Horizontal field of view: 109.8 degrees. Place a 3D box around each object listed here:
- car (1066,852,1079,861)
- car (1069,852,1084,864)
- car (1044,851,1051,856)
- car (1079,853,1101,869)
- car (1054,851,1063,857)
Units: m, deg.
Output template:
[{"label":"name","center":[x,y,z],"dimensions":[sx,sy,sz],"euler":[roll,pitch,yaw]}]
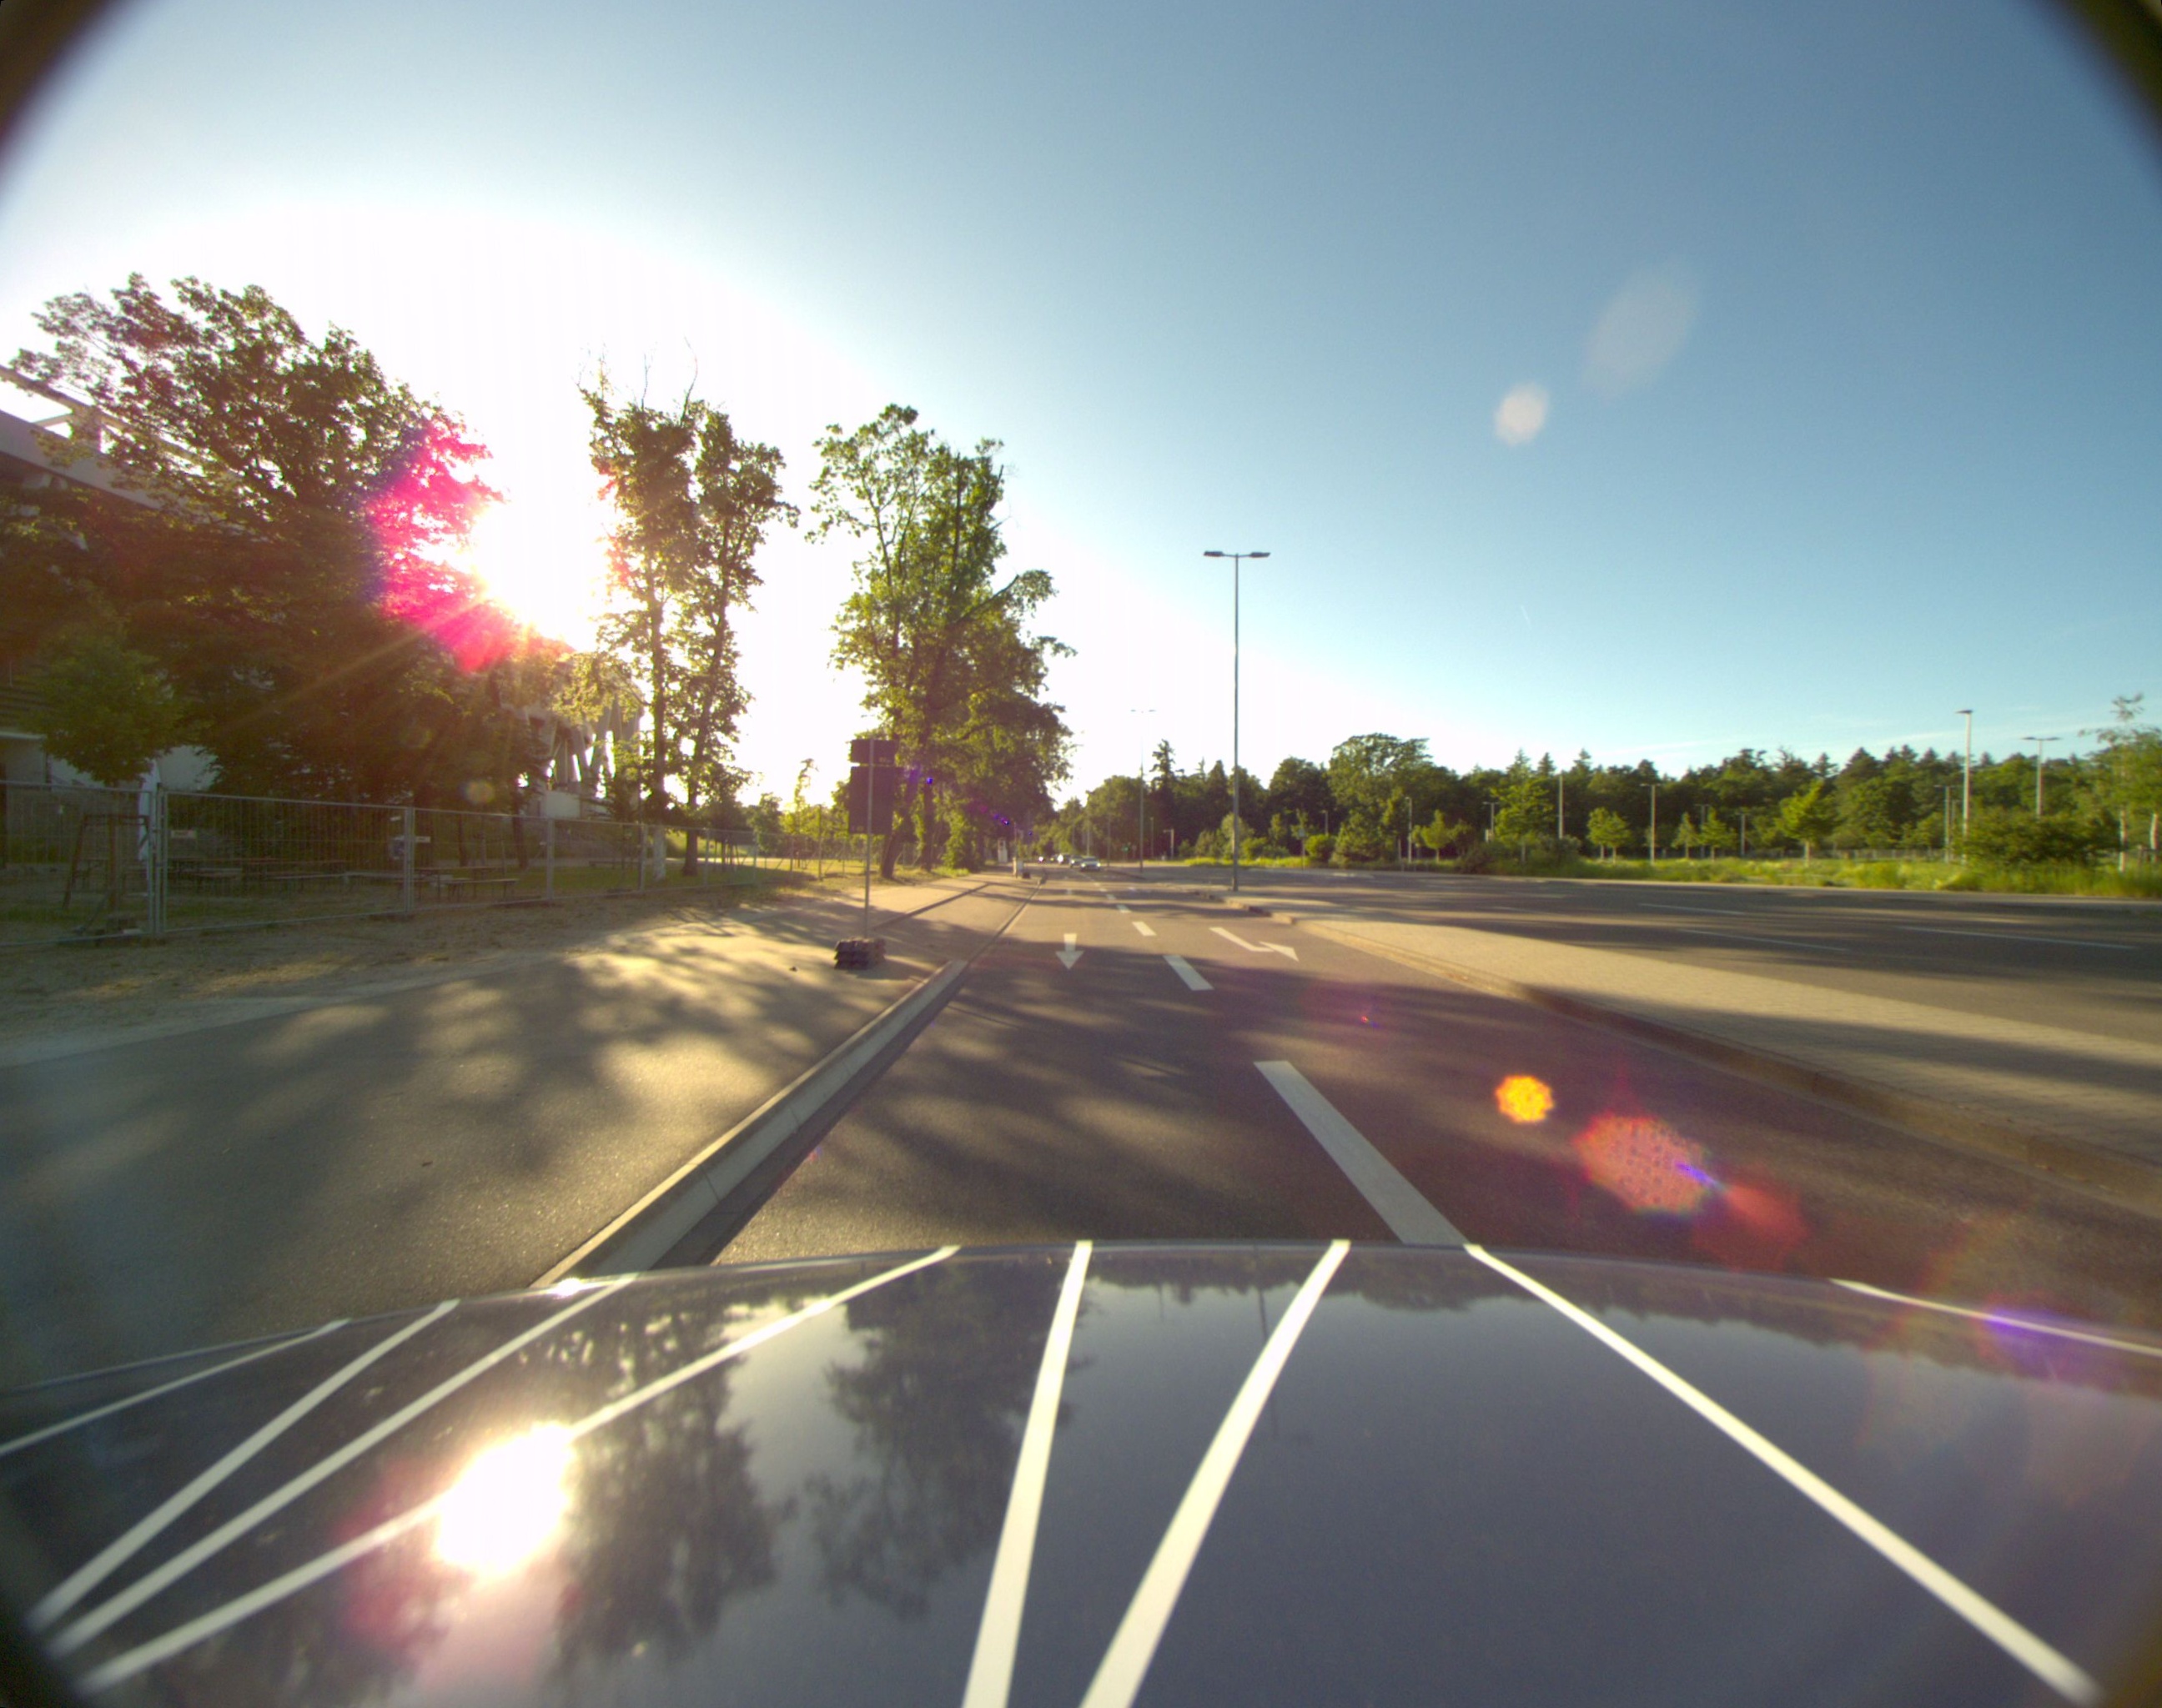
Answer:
[{"label":"car","center":[-1.446,0.331,125.041],"dimensions":[1.841,1.395,4.990],"euler":[-1,0,-3]},{"label":"car","center":[-0.606,0.481,98.129],"dimensions":[1.841,1.395,4.990],"euler":[-1,0,-2]},{"label":"car","center":[-9.506,-0.139,218.099],"dimensions":[1.842,1.395,4.989],"euler":[-1,0,-4]},{"label":"car","center":[0.854,0.663,73.351],"dimensions":[1.841,1.395,3.999],"euler":[-1,0,-2]},{"label":"car","center":[-4.794,-0.006,158.889],"dimensions":[1.841,1.395,4.990],"euler":[-1,0,-2]}]
